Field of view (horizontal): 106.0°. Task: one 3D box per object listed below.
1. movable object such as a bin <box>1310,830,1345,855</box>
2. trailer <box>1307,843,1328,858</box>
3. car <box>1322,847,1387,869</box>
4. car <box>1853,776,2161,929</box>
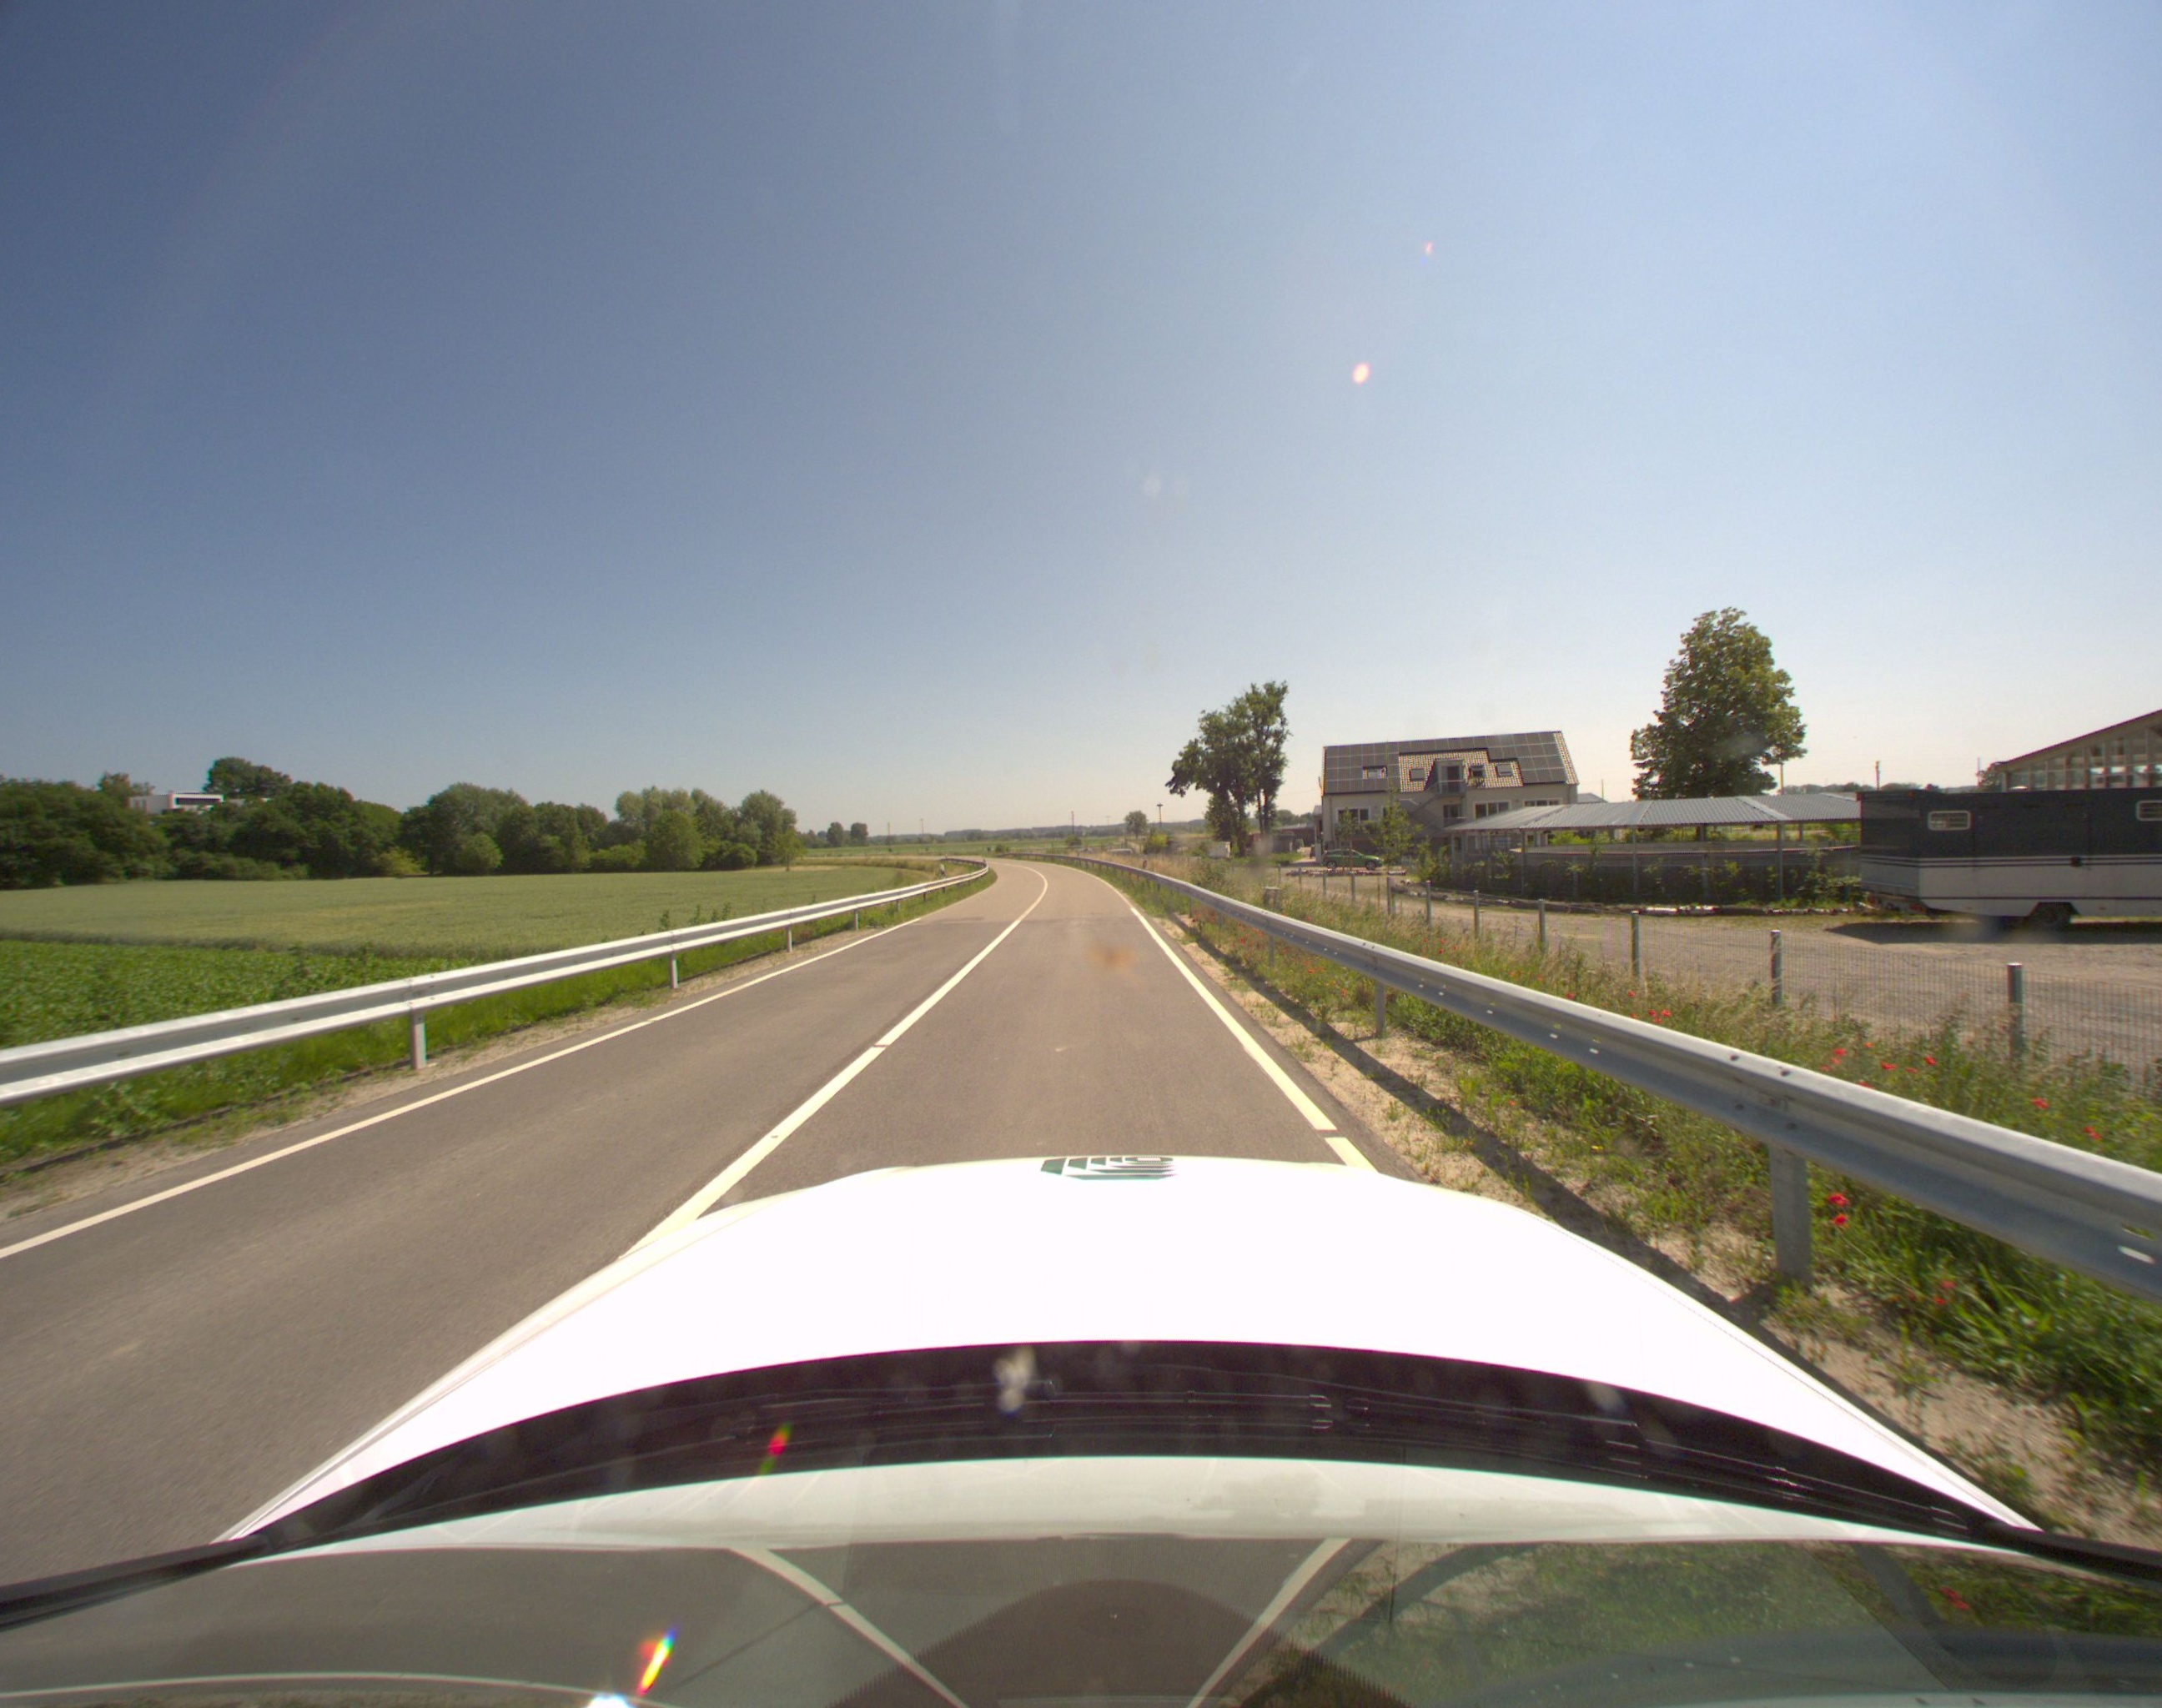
[{"bbox_3d":[29.341,-1.420,97.119,2.985,2.769,6.520,-1,1,8],"label":"movable object such as a bin"},{"bbox_3d":[24.985,-0.329,85.991,1.695,1.496,3.159,-1,-1,25],"label":"trailer"},{"bbox_3d":[19.744,0.314,58.811,4.322,1.580,1.943,0,-1,21],"label":"car"},{"bbox_3d":[26.004,-0.072,20.717,8.894,3.652,2.793,-1,1,18],"label":"car"}]
